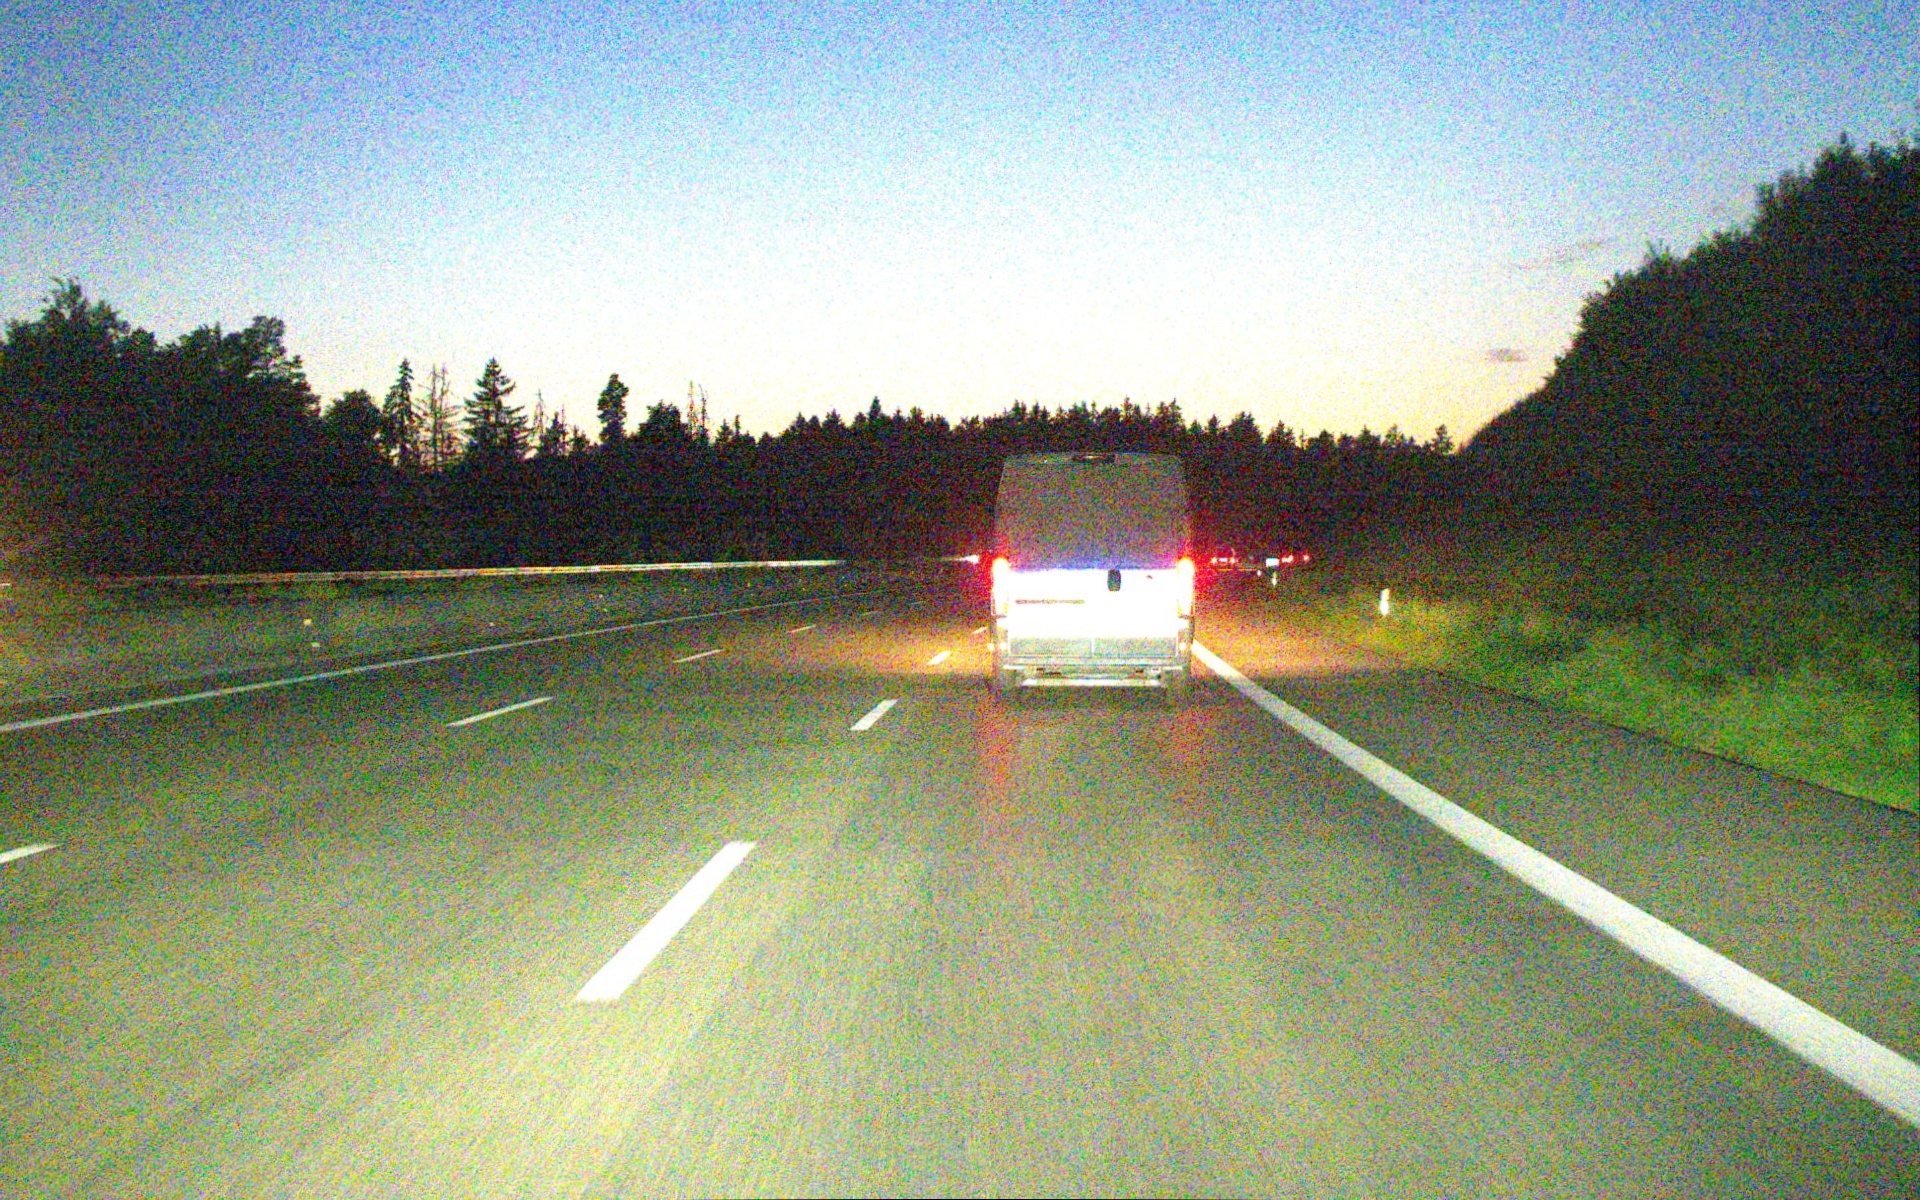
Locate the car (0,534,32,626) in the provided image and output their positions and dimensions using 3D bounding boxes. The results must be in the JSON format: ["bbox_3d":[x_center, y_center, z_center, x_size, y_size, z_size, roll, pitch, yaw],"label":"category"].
[{"bbox_3d":[-17.413,-0.349,58.302,1.993,1.574,4.584,0,0,2],"label":"car"}]

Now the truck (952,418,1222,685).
[{"bbox_3d":[1.297,-0.491,38.003,2.630,2.615,8.684,0,0,1],"label":"truck"}]
